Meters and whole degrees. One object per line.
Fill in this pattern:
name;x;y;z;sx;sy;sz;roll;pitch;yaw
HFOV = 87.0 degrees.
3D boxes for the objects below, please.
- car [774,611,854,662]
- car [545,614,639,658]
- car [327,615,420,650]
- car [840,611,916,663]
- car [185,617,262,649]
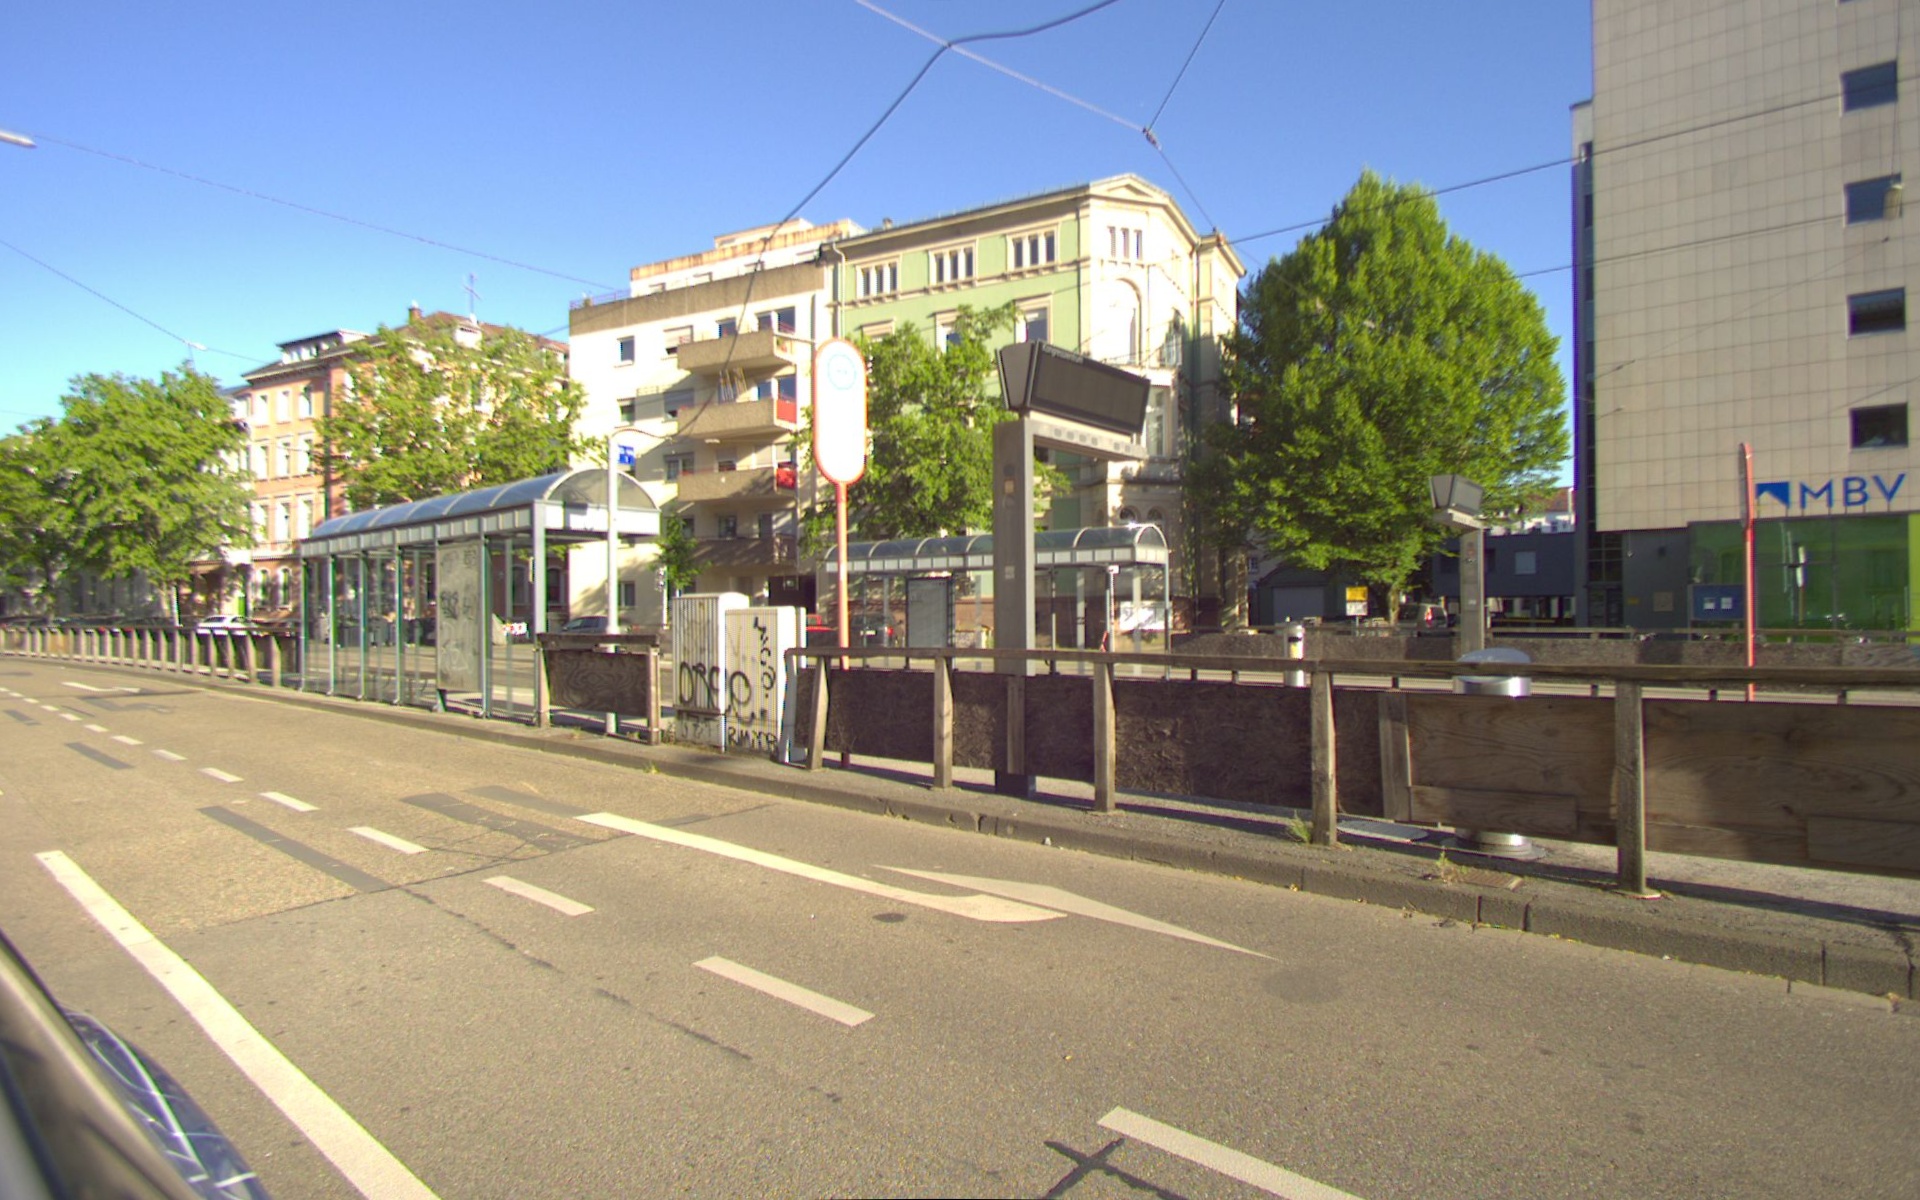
car;-4.924;1.210;34.579;1.614;1.579;3.588;-1;0;11
car;-14.036;1.327;38.532;3.592;1.579;1.612;-1;0;35
car;-28.400;1.552;49.070;1.626;1.579;3.560;-1;0;33
car;-2.651;1.181;33.382;1.614;1.579;3.588;-1;0;11
car;-39.400;1.730;54.229;1.607;1.579;3.601;-1;0;-2
